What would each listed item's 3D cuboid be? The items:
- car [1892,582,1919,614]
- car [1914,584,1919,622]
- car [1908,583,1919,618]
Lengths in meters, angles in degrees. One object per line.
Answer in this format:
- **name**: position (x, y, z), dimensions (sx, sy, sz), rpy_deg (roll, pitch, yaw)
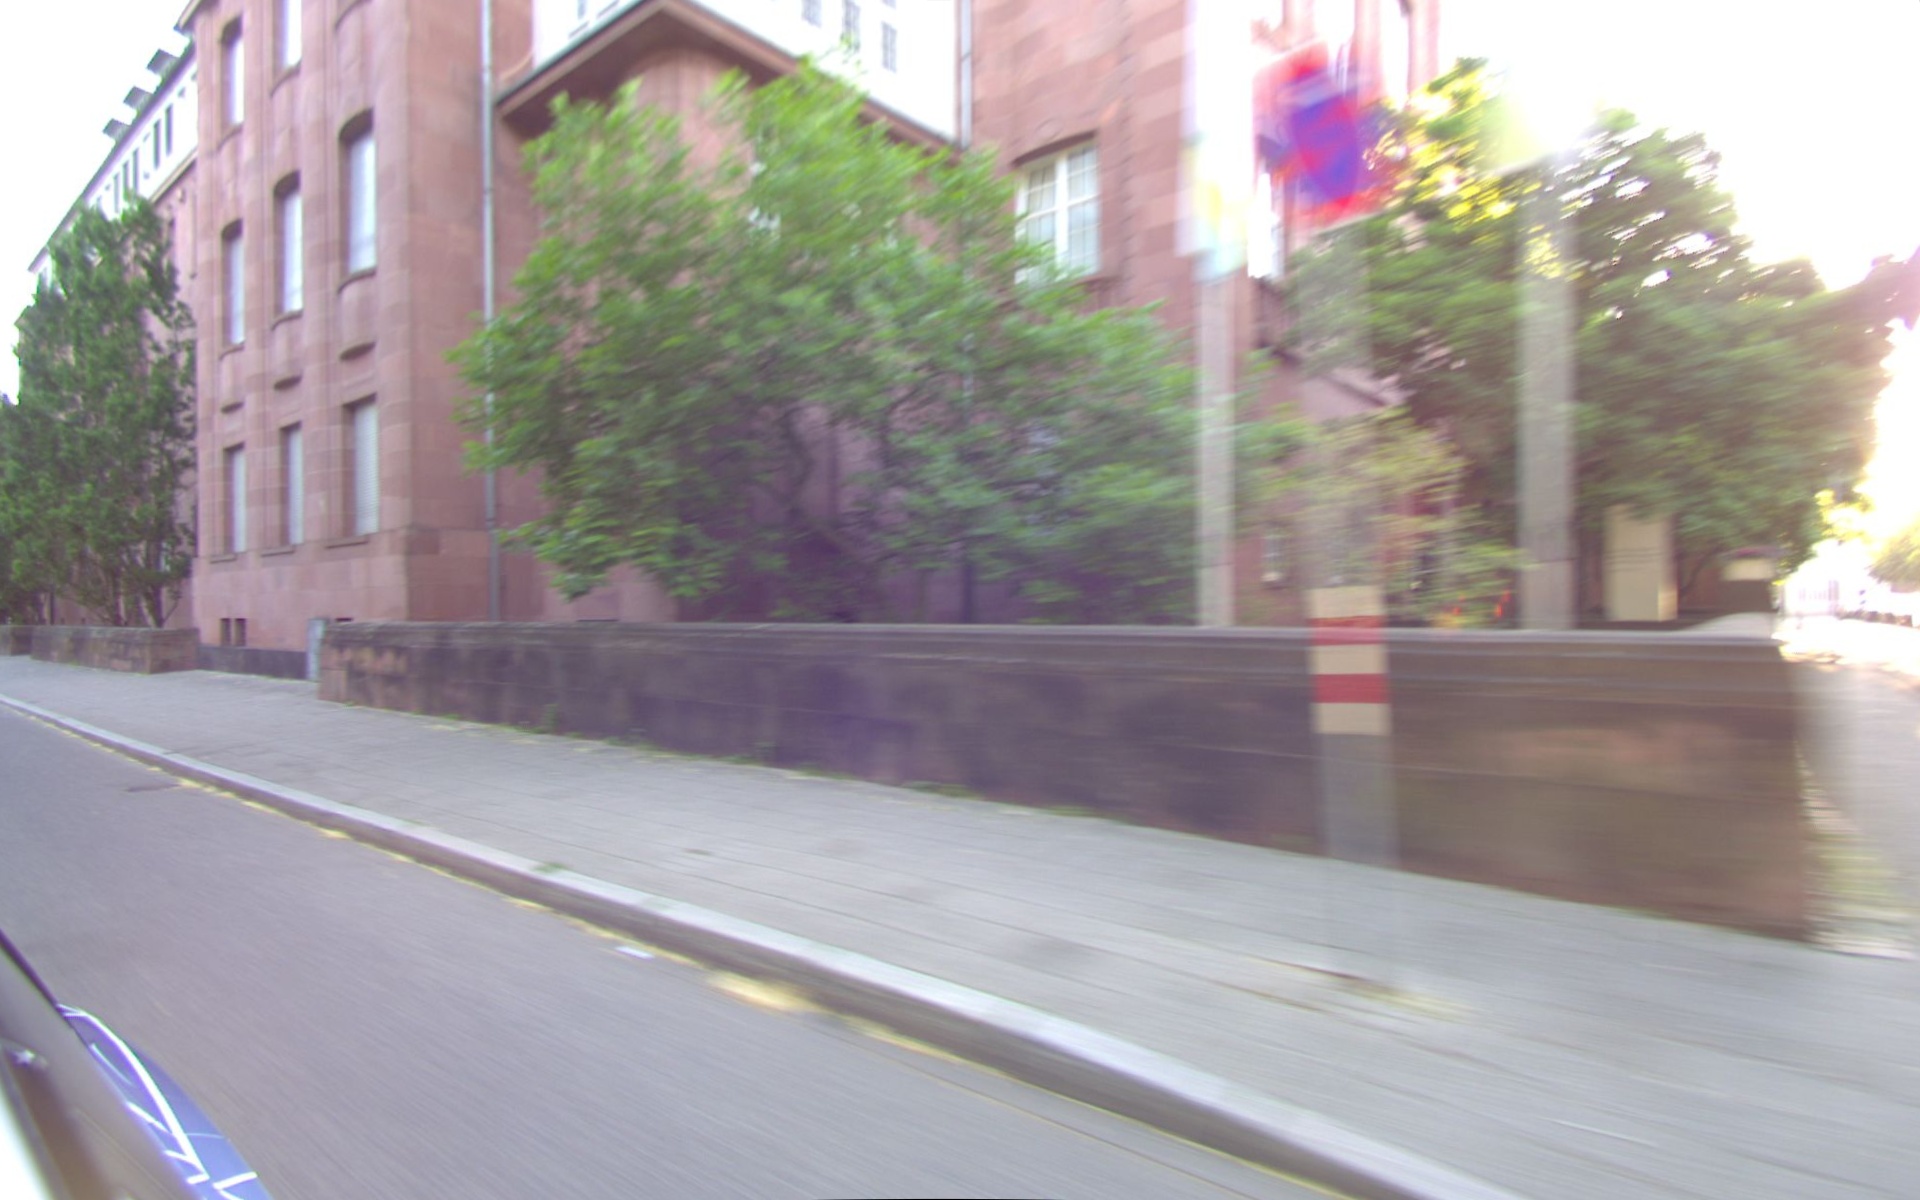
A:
- **car**: position (47.829, -0.096, 50.271), dimensions (1.998, 1.574, 3.984), rpy_deg (2, 1, 39)
- **car**: position (41.135, 0.141, 41.952), dimensions (1.998, 1.574, 3.984), rpy_deg (2, 1, 39)
- **car**: position (44.534, 0.024, 45.858), dimensions (1.998, 1.574, 3.984), rpy_deg (2, 1, 39)
